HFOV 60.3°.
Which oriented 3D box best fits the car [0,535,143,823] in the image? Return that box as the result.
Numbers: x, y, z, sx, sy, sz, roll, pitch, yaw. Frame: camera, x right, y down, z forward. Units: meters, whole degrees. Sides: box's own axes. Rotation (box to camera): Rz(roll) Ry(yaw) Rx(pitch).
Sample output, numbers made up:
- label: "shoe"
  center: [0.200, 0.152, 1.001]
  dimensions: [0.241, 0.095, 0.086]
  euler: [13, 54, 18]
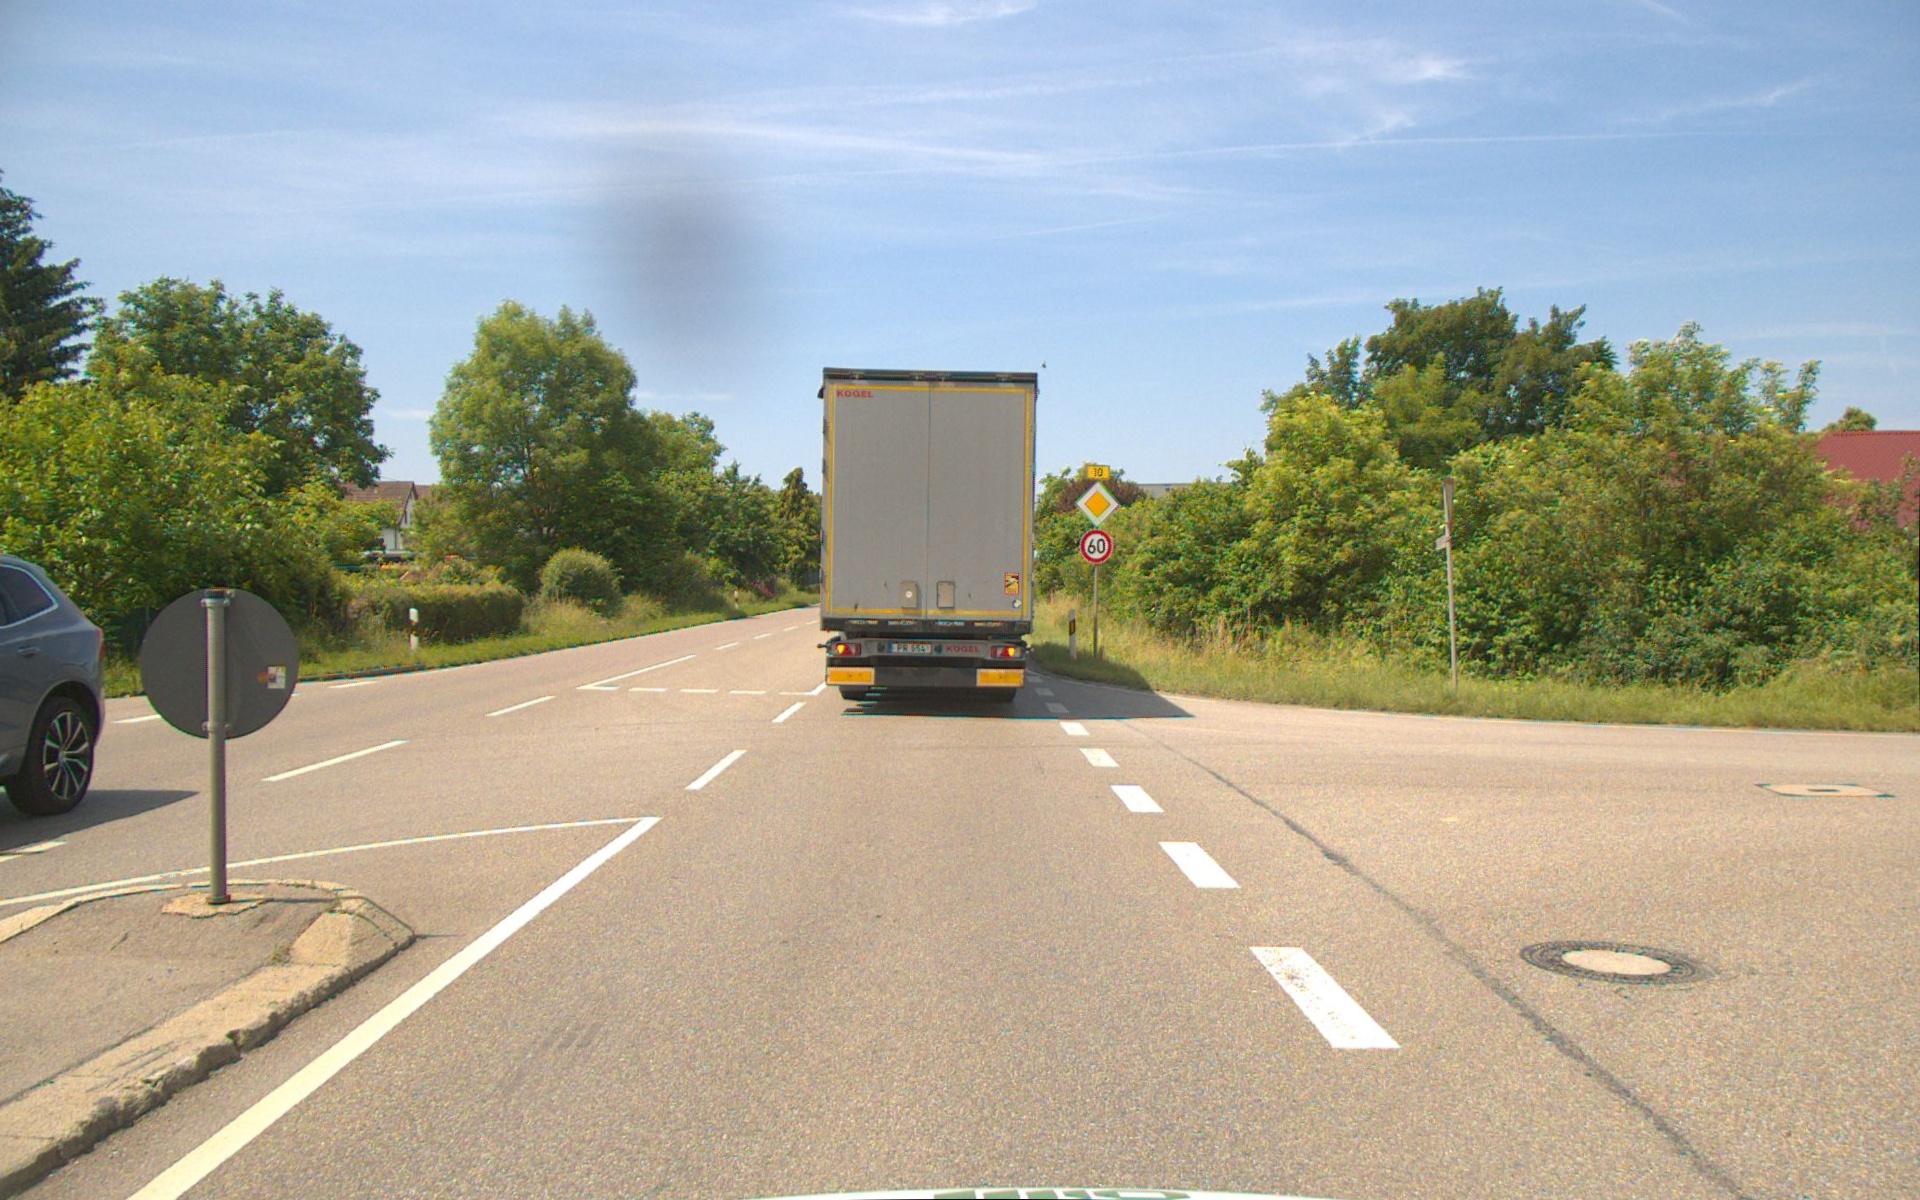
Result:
- label: "car"
  center: [-6.556, 0.471, 9.156]
  dimensions: [1.908, 1.683, 4.431]
  euler: [0, 1, -1]

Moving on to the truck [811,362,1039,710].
- label: "truck"
  center: [-0.582, -0.819, 23.558]
  dimensions: [2.594, 3.985, 8.822]
  euler: [1, 1, -2]
